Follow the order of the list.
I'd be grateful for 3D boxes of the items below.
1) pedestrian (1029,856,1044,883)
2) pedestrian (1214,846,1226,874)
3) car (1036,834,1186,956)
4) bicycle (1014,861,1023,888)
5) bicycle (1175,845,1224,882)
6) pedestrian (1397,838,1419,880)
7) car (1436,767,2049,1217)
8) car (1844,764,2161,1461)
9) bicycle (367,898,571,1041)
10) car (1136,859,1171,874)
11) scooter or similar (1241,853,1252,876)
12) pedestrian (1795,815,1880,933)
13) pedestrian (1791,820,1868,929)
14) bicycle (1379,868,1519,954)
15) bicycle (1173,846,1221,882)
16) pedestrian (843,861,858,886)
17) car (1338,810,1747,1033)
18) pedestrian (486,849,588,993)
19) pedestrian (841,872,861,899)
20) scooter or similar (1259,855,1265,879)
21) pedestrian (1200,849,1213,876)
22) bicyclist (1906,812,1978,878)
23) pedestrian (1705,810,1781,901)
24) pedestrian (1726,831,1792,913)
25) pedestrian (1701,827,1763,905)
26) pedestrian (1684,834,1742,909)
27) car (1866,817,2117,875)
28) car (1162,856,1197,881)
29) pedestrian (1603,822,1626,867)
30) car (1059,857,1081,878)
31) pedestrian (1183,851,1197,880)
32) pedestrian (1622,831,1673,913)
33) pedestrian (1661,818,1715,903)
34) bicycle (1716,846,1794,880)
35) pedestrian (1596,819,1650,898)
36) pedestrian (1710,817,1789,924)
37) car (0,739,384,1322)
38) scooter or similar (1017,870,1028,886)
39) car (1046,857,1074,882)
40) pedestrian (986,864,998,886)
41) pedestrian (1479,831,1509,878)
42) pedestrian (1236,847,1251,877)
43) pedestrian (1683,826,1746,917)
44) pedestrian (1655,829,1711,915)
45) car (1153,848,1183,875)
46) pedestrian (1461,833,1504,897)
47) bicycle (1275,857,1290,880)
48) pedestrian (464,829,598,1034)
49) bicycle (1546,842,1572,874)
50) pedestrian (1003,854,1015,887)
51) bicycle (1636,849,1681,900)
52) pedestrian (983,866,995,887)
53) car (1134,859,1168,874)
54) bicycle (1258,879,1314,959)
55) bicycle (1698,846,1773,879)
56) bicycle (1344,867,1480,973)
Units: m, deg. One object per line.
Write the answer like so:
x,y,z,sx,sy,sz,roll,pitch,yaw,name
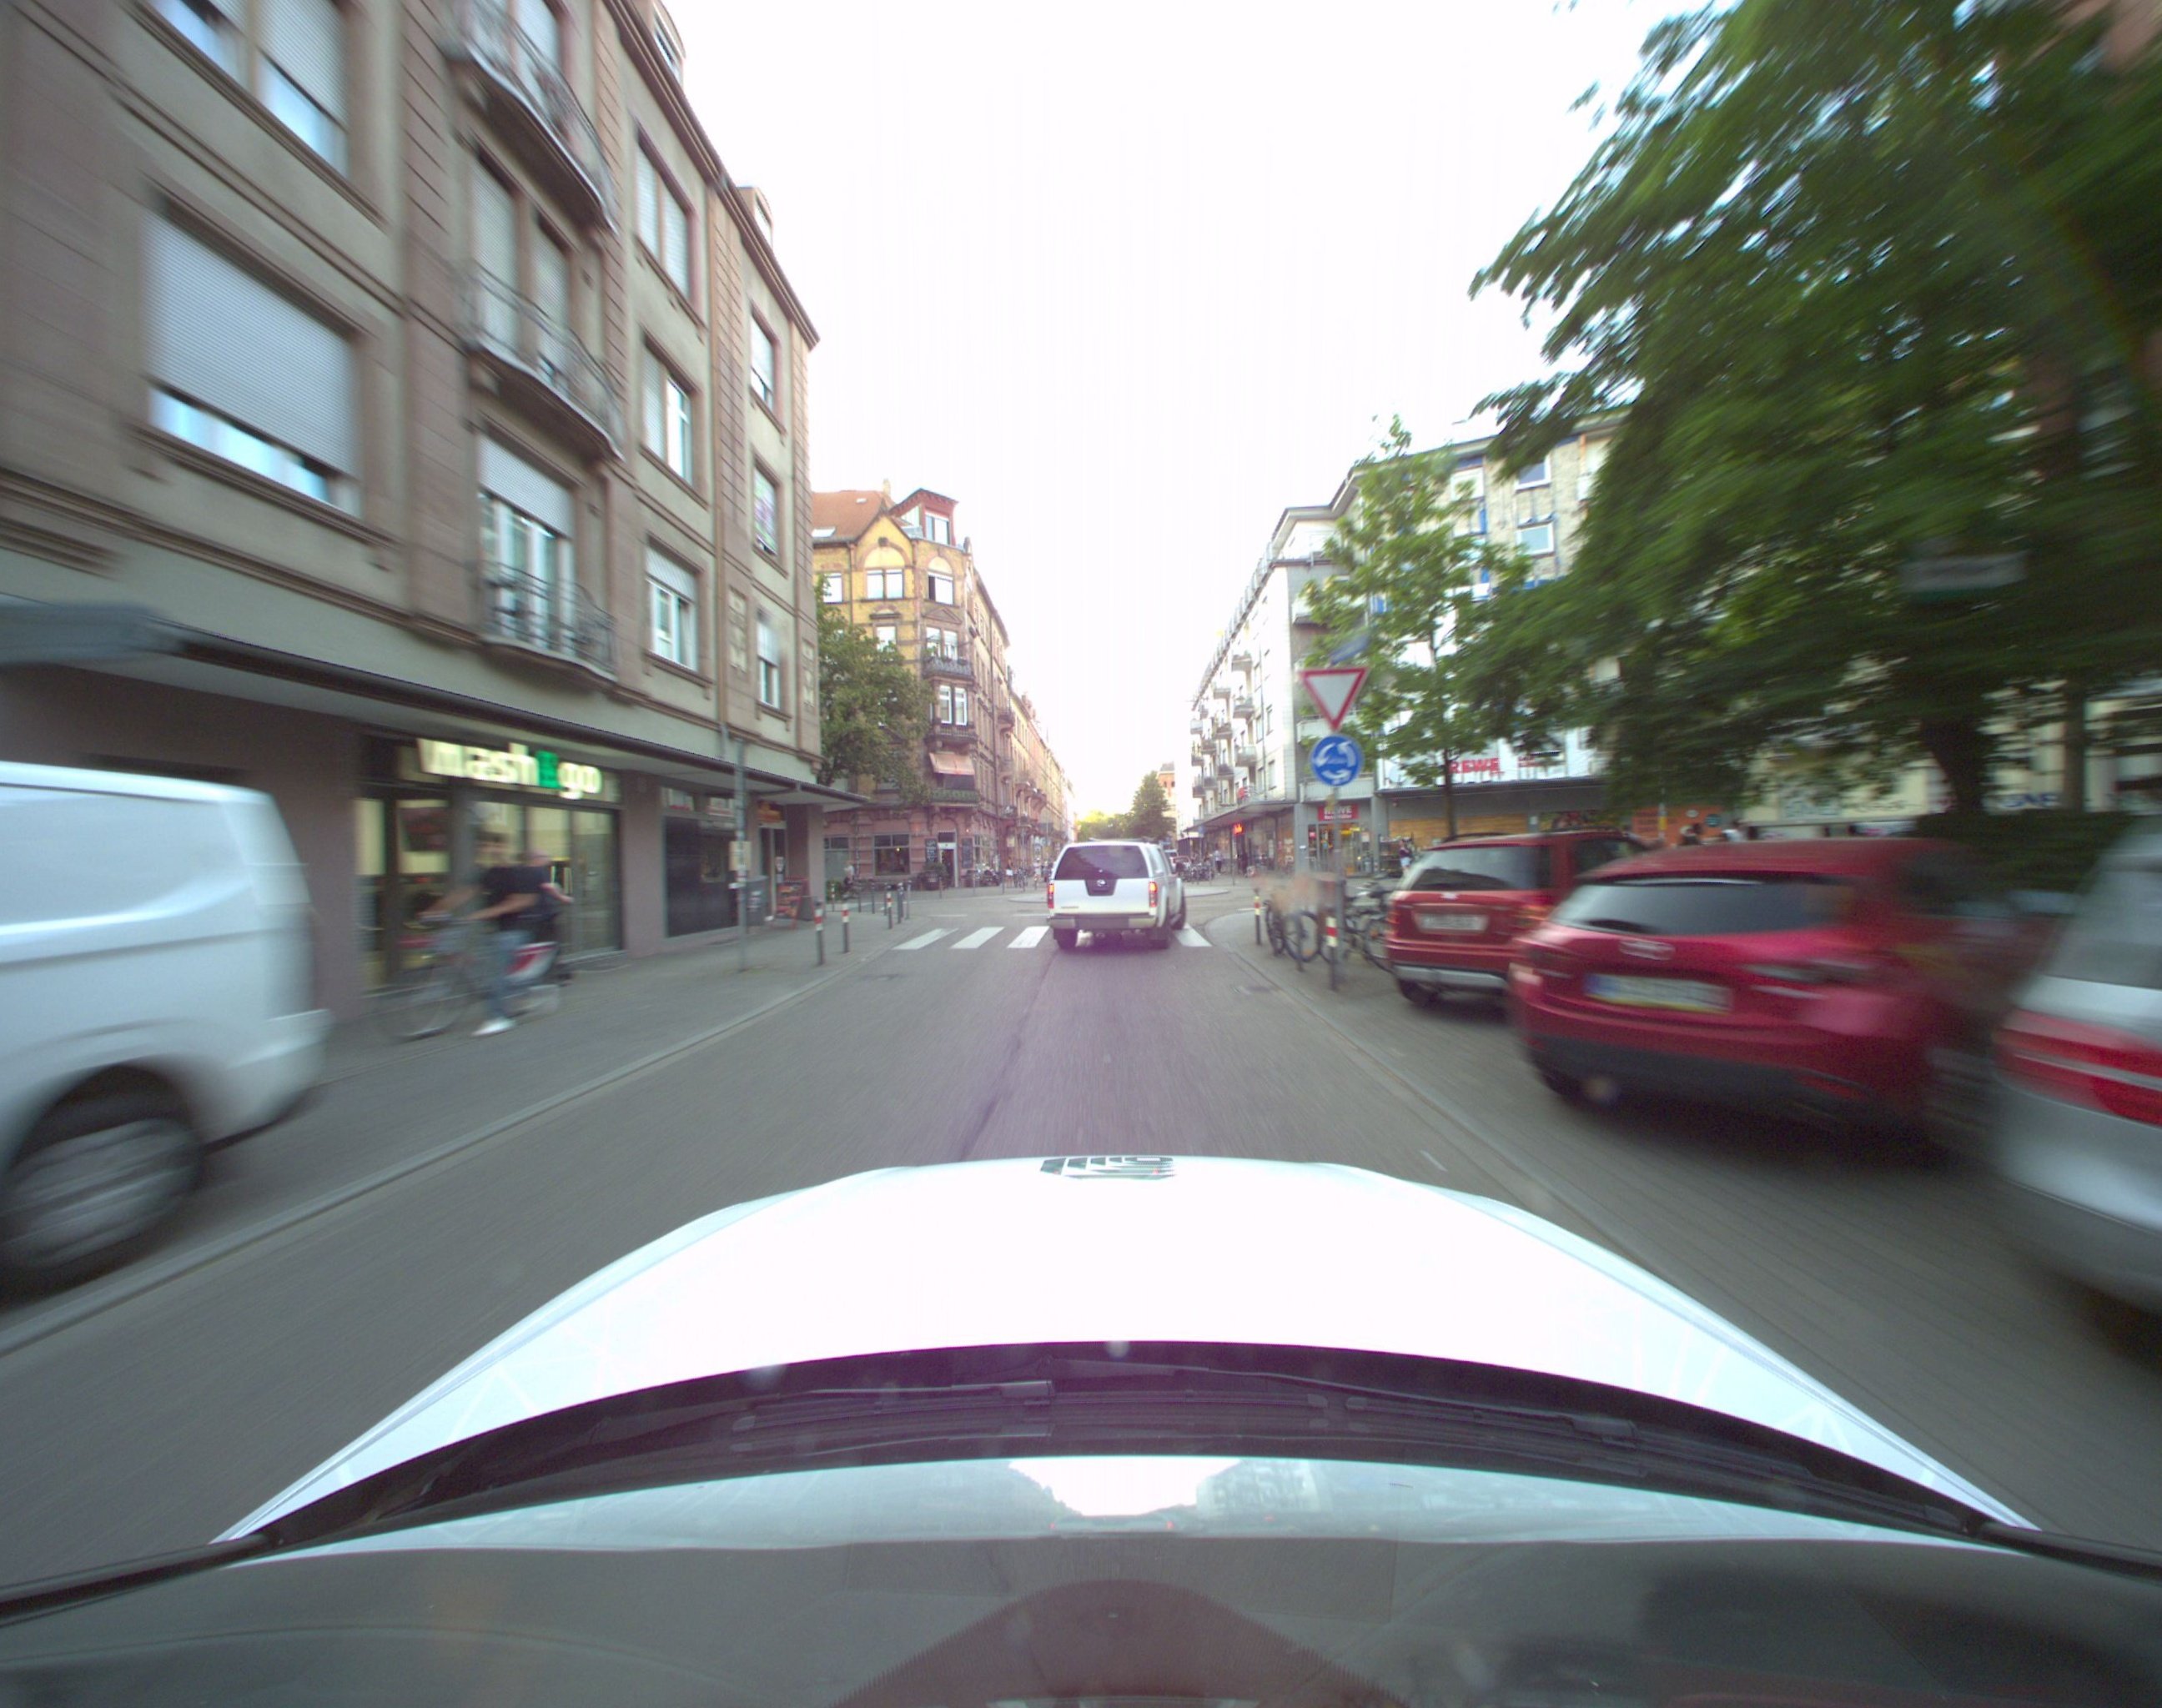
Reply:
-2.678,0.924,48.998,0.795,1.621,0.944,-1,-1,0,pedestrian
9.356,0.395,54.881,0.717,1.906,0.703,-1,-1,2,pedestrian
0.764,0.592,14.814,1.925,1.810,5.016,-1,1,11,car
-3.510,1.143,45.697,0.423,1.442,1.903,-1,-1,-2,bicycle
6.571,0.552,45.236,2.636,2.014,0.638,-1,-1,3,bicycle
12.983,0.203,32.335,0.709,1.652,0.718,-1,-1,28,pedestrian
4.333,0.425,5.109,4.244,1.688,1.912,-5,0,-36,car
4.505,0.442,2.600,4.239,1.622,1.914,-5,0,-32,car
-5.772,1.030,7.823,0.469,1.142,1.787,-1,-1,6,bicycle
8.446,1.460,95.047,3.973,1.750,1.841,-1,-1,1,car
9.620,0.609,47.357,0.438,1.290,1.669,-1,-1,4,scooter or similar
9.285,0.242,10.008,0.553,1.409,0.512,0,-1,-11,pedestrian
10.001,0.269,10.888,0.516,1.409,0.613,0,-1,-31,pedestrian
4.912,0.725,11.012,0.600,1.063,1.754,0,-1,-25,bicycle
6.563,0.565,46.052,2.636,2.014,0.638,-1,-1,3,bicycle
-11.768,0.990,41.514,0.451,1.262,0.578,-1,-1,26,pedestrian
4.683,0.488,8.133,4.061,1.628,1.677,-4,1,-30,car
-6.568,0.789,9.869,0.705,1.678,0.737,-1,-1,5,pedestrian
-10.848,1.474,38.471,0.751,1.262,0.668,-1,-1,1,pedestrian
9.645,0.680,43.417,0.218,1.237,0.969,-1,1,9,scooter or similar
7.688,0.536,50.012,0.717,1.663,0.703,-1,-1,2,pedestrian
22.656,-0.236,21.448,0.987,1.689,0.794,-2,0,15,bicyclist
13.688,0.040,16.864,0.832,1.828,0.867,-1,-1,-4,pedestrian
10.726,0.283,12.897,0.542,1.269,0.574,-1,-1,3,pedestrian
10.833,0.206,13.566,0.542,1.269,0.574,-1,-1,3,pedestrian
11.026,0.302,14.222,0.542,1.269,0.574,-1,-1,3,pedestrian
26.369,-0.179,23.862,1.994,1.526,4.528,0,-1,-10,car
6.334,0.917,52.721,1.828,1.542,4.001,-1,-1,1,car
19.474,-0.339,29.733,0.658,1.601,0.722,-1,-1,32,pedestrian
-0.959,1.220,73.265,1.828,1.750,4.163,-1,-1,1,car
6.327,0.682,47.380,0.717,1.663,0.703,-1,-1,2,pedestrian
9.804,0.312,14.103,0.543,1.380,0.466,-1,-1,-1,pedestrian
12.742,0.138,17.097,0.826,1.724,0.874,-2,-2,39,pedestrian
21.144,0.274,25.560,2.002,1.026,0.491,-1,-1,0,bicycle
12.923,0.121,19.449,0.858,1.828,0.841,-1,-1,18,pedestrian
9.056,0.218,11.048,0.637,1.409,0.512,0,-1,-11,pedestrian
-4.643,0.597,1.623,2.102,1.921,5.026,-2,-1,1,car
-3.483,1.433,48.436,0.234,0.929,1.256,0,-1,-23,scooter or similar
-1.482,1.094,59.212,1.828,1.750,4.001,-1,-1,1,car
-5.265,1.270,48.369,0.647,1.286,0.539,-1,-1,-2,pedestrian
15.604,0.018,30.768,0.724,1.726,0.660,0,-1,-28,pedestrian
9.130,0.444,45.798,0.717,1.663,0.703,-1,-1,2,pedestrian
9.849,0.279,12.685,0.541,1.380,0.575,-1,-1,9,pedestrian
9.896,0.299,13.398,0.543,1.380,0.466,-1,-1,-1,pedestrian
6.532,0.604,61.509,1.935,1.934,4.001,-1,-1,1,car
11.410,0.323,23.159,0.860,1.770,0.951,-1,-1,11,pedestrian
9.712,0.697,39.266,0.289,1.112,0.963,0,-1,-10,bicycle
-5.224,0.702,7.791,0.534,1.824,0.998,-1,-1,5,pedestrian
18.285,0.159,31.125,1.819,1.203,0.344,0,-2,-44,bicycle
-4.058,0.936,45.853,0.505,1.840,0.569,0,-1,-21,pedestrian
13.688,0.474,19.352,0.430,1.134,2.046,-1,-1,23,bicycle
-5.339,1.298,47.184,0.647,1.191,0.539,-1,-1,-2,pedestrian
8.421,1.505,97.710,3.973,1.750,1.841,-1,-1,1,car
2.943,0.904,11.805,0.363,1.063,1.551,-1,-1,-1,bicycle
21.124,0.286,26.280,2.002,1.026,0.491,-1,-1,0,bicycle
3.994,0.774,9.832,1.549,1.161,0.363,-3,-1,-13,bicycle
